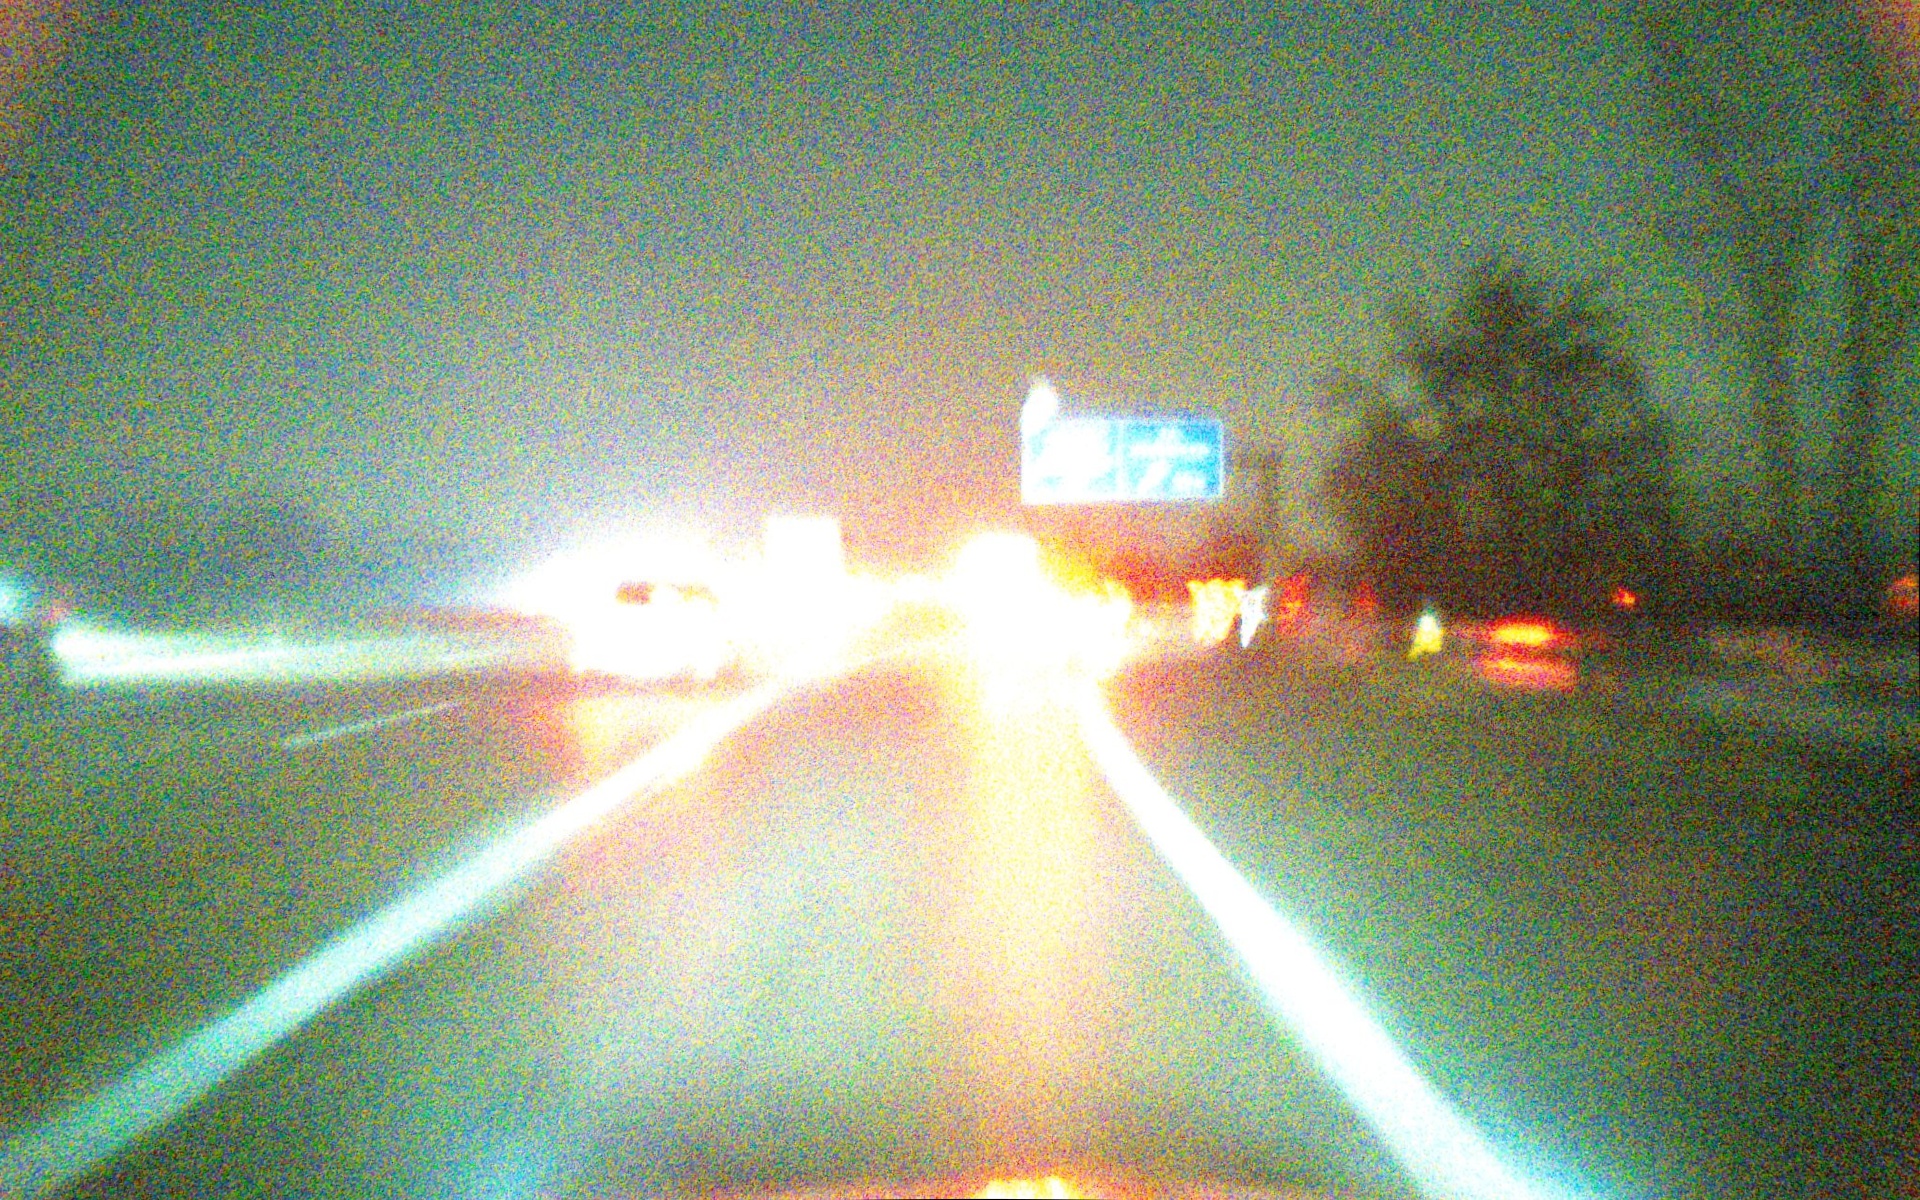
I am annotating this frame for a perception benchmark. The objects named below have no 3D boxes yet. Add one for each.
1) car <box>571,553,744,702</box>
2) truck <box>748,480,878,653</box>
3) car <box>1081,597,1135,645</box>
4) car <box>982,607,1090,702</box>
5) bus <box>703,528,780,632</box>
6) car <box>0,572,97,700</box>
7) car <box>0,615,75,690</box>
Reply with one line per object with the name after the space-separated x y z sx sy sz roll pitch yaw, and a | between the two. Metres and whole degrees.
-4.555 0.393 25.611 2.084 2.049 4.642 1 0 -4 | car
-5.269 -1.127 61.824 4.126 5.747 11.462 1 0 -2 | truck
5.900 0.818 66.435 1.952 1.839 4.001 1 0 3 | car
1.544 1.092 34.984 1.953 1.839 3.999 1 0 -2 | car
-10.322 -0.894 79.073 3.036 4.587 10.901 1 0 -5 | bus
-12.237 0.401 19.090 1.953 1.502 5.163 1 0 -2 | car
-25.306 1.346 43.538 1.865 1.839 3.999 1 0 -1 | car
